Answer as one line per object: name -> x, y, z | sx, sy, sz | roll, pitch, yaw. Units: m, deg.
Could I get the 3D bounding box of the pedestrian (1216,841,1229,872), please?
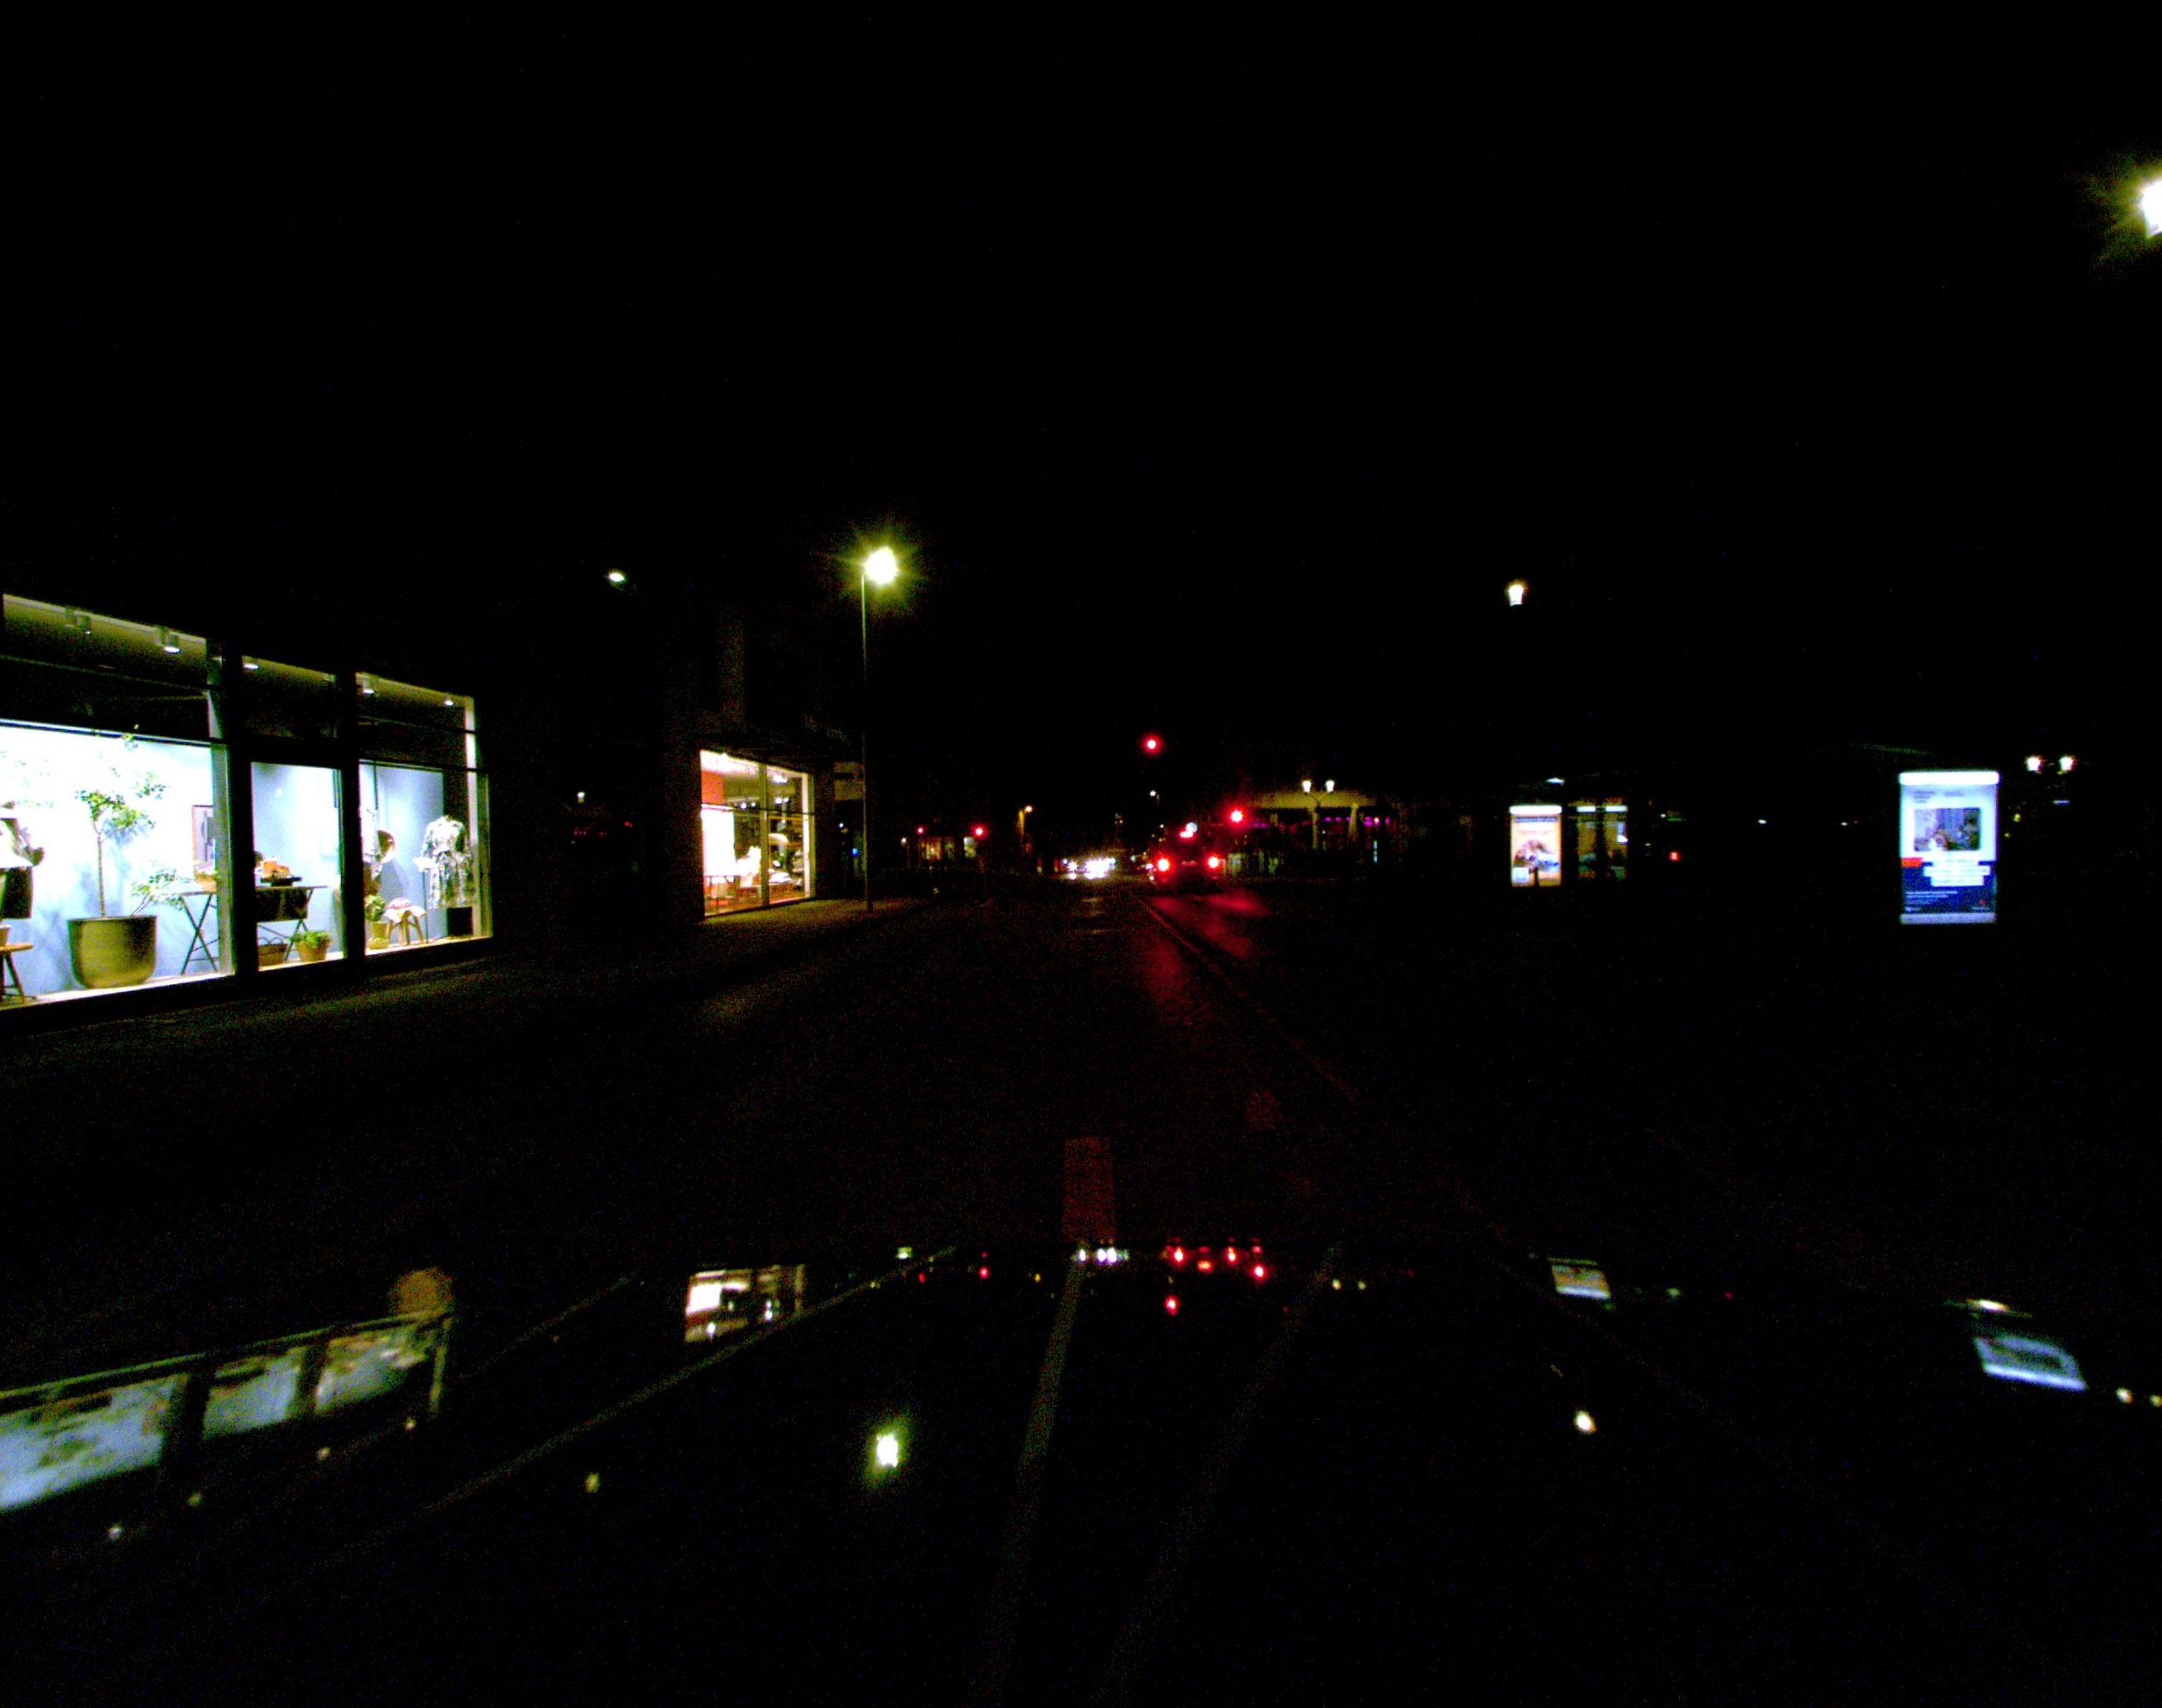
pedestrian -> 7.598, 0.121, 40.760 | 0.646, 1.619, 0.583 | -2, 1, 11

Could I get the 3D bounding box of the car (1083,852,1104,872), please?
car -> 1.148, 0.768, 71.791 | 1.879, 1.718, 3.999 | -2, 1, 1

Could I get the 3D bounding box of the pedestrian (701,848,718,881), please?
pedestrian -> -19.826, 0.554, 40.547 | 0.524, 1.707, 0.567 | -2, 1, 8

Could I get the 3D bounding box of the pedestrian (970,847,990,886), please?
pedestrian -> -4.342, 0.527, 32.769 | 0.539, 1.672, 0.648 | -2, 1, 23

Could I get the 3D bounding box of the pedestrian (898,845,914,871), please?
pedestrian -> -11.777, 0.251, 51.115 | 0.877, 1.723, 0.647 | 0, 1, 4

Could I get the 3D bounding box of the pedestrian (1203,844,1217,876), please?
pedestrian -> 6.685, 0.300, 39.444 | 0.646, 1.619, 0.583 | -2, 1, 8

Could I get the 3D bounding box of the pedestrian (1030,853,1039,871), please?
pedestrian -> -3.953, 0.656, 64.505 | 0.647, 1.487, 0.830 | 0, 1, 2

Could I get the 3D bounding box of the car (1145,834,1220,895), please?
car -> 3.356, 0.292, 25.981 | 1.971, 1.861, 4.911 | -1, 1, 1

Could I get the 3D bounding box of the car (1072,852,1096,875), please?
car -> 0.270, 0.702, 60.270 | 1.713, 1.660, 3.738 | -2, 1, 3
